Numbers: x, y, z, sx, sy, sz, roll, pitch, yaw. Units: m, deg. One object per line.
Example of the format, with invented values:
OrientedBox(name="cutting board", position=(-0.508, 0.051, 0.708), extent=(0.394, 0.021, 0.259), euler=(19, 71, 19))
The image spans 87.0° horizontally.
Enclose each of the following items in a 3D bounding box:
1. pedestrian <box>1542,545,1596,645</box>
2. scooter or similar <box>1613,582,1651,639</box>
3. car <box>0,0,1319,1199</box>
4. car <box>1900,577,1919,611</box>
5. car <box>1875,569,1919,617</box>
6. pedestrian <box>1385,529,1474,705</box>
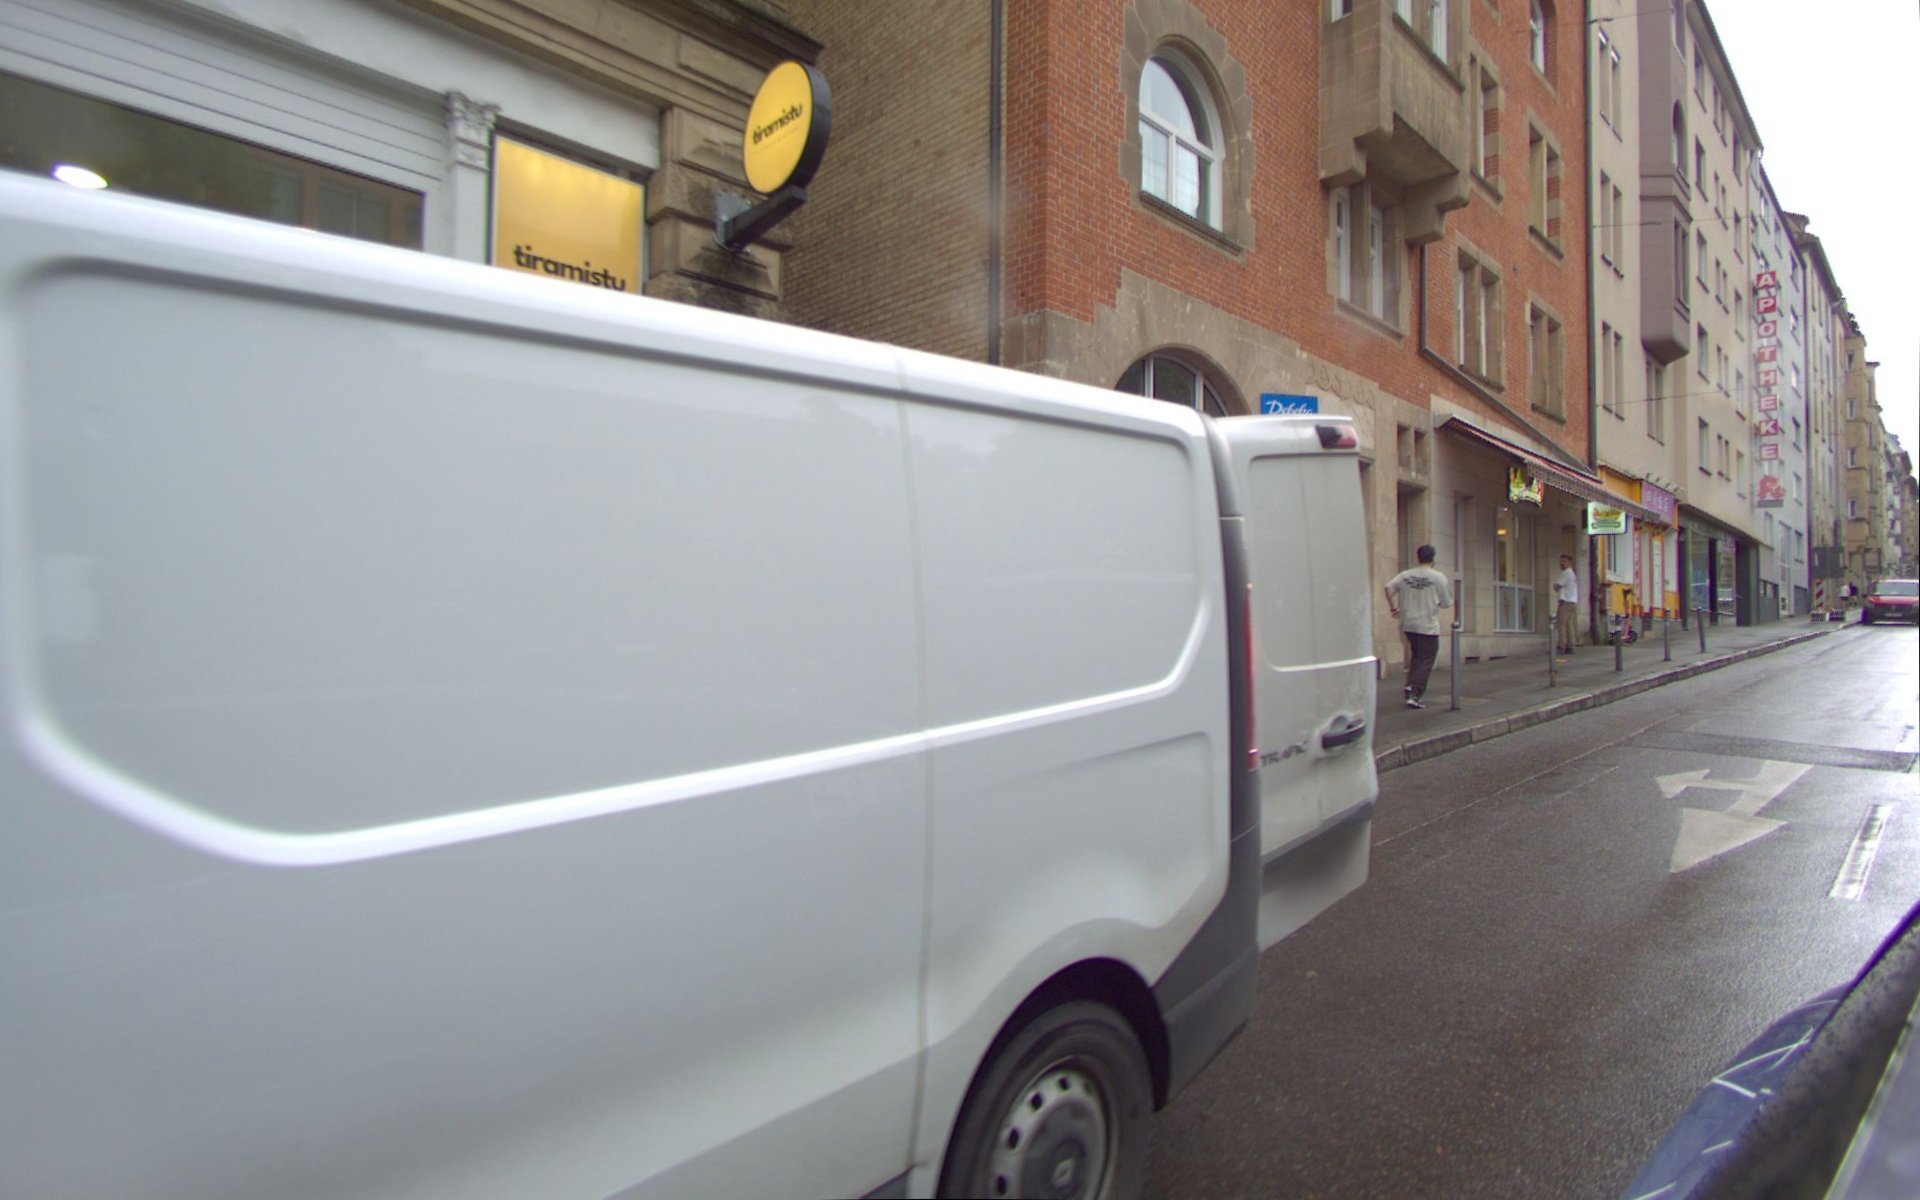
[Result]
OrientedBox(name="pedestrian", position=(11.524, -0.110, 19.167), extent=(0.567, 1.852, 0.565), euler=(1, 3, -12))
OrientedBox(name="scooter or similar", position=(14.908, 0.241, 22.448), extent=(1.172, 1.237, 0.258), euler=(1, -1, -35))
OrientedBox(name="car", position=(-1.424, 0.434, 1.695), extent=(4.607, 1.960, 1.922), euler=(-1, 0, -43))
OrientedBox(name="car", position=(50.113, -0.312, 52.430), extent=(4.424, 1.730, 1.767), euler=(0, 0, -44))
OrientedBox(name="car", position=(38.850, -0.303, 41.371), extent=(1.975, 1.861, 5.163), euler=(0, 1, 44))
OrientedBox(name="pedestrian", position=(4.998, 0.160, 10.767), extent=(0.684, 1.776, 0.824), euler=(0, 1, 40))
